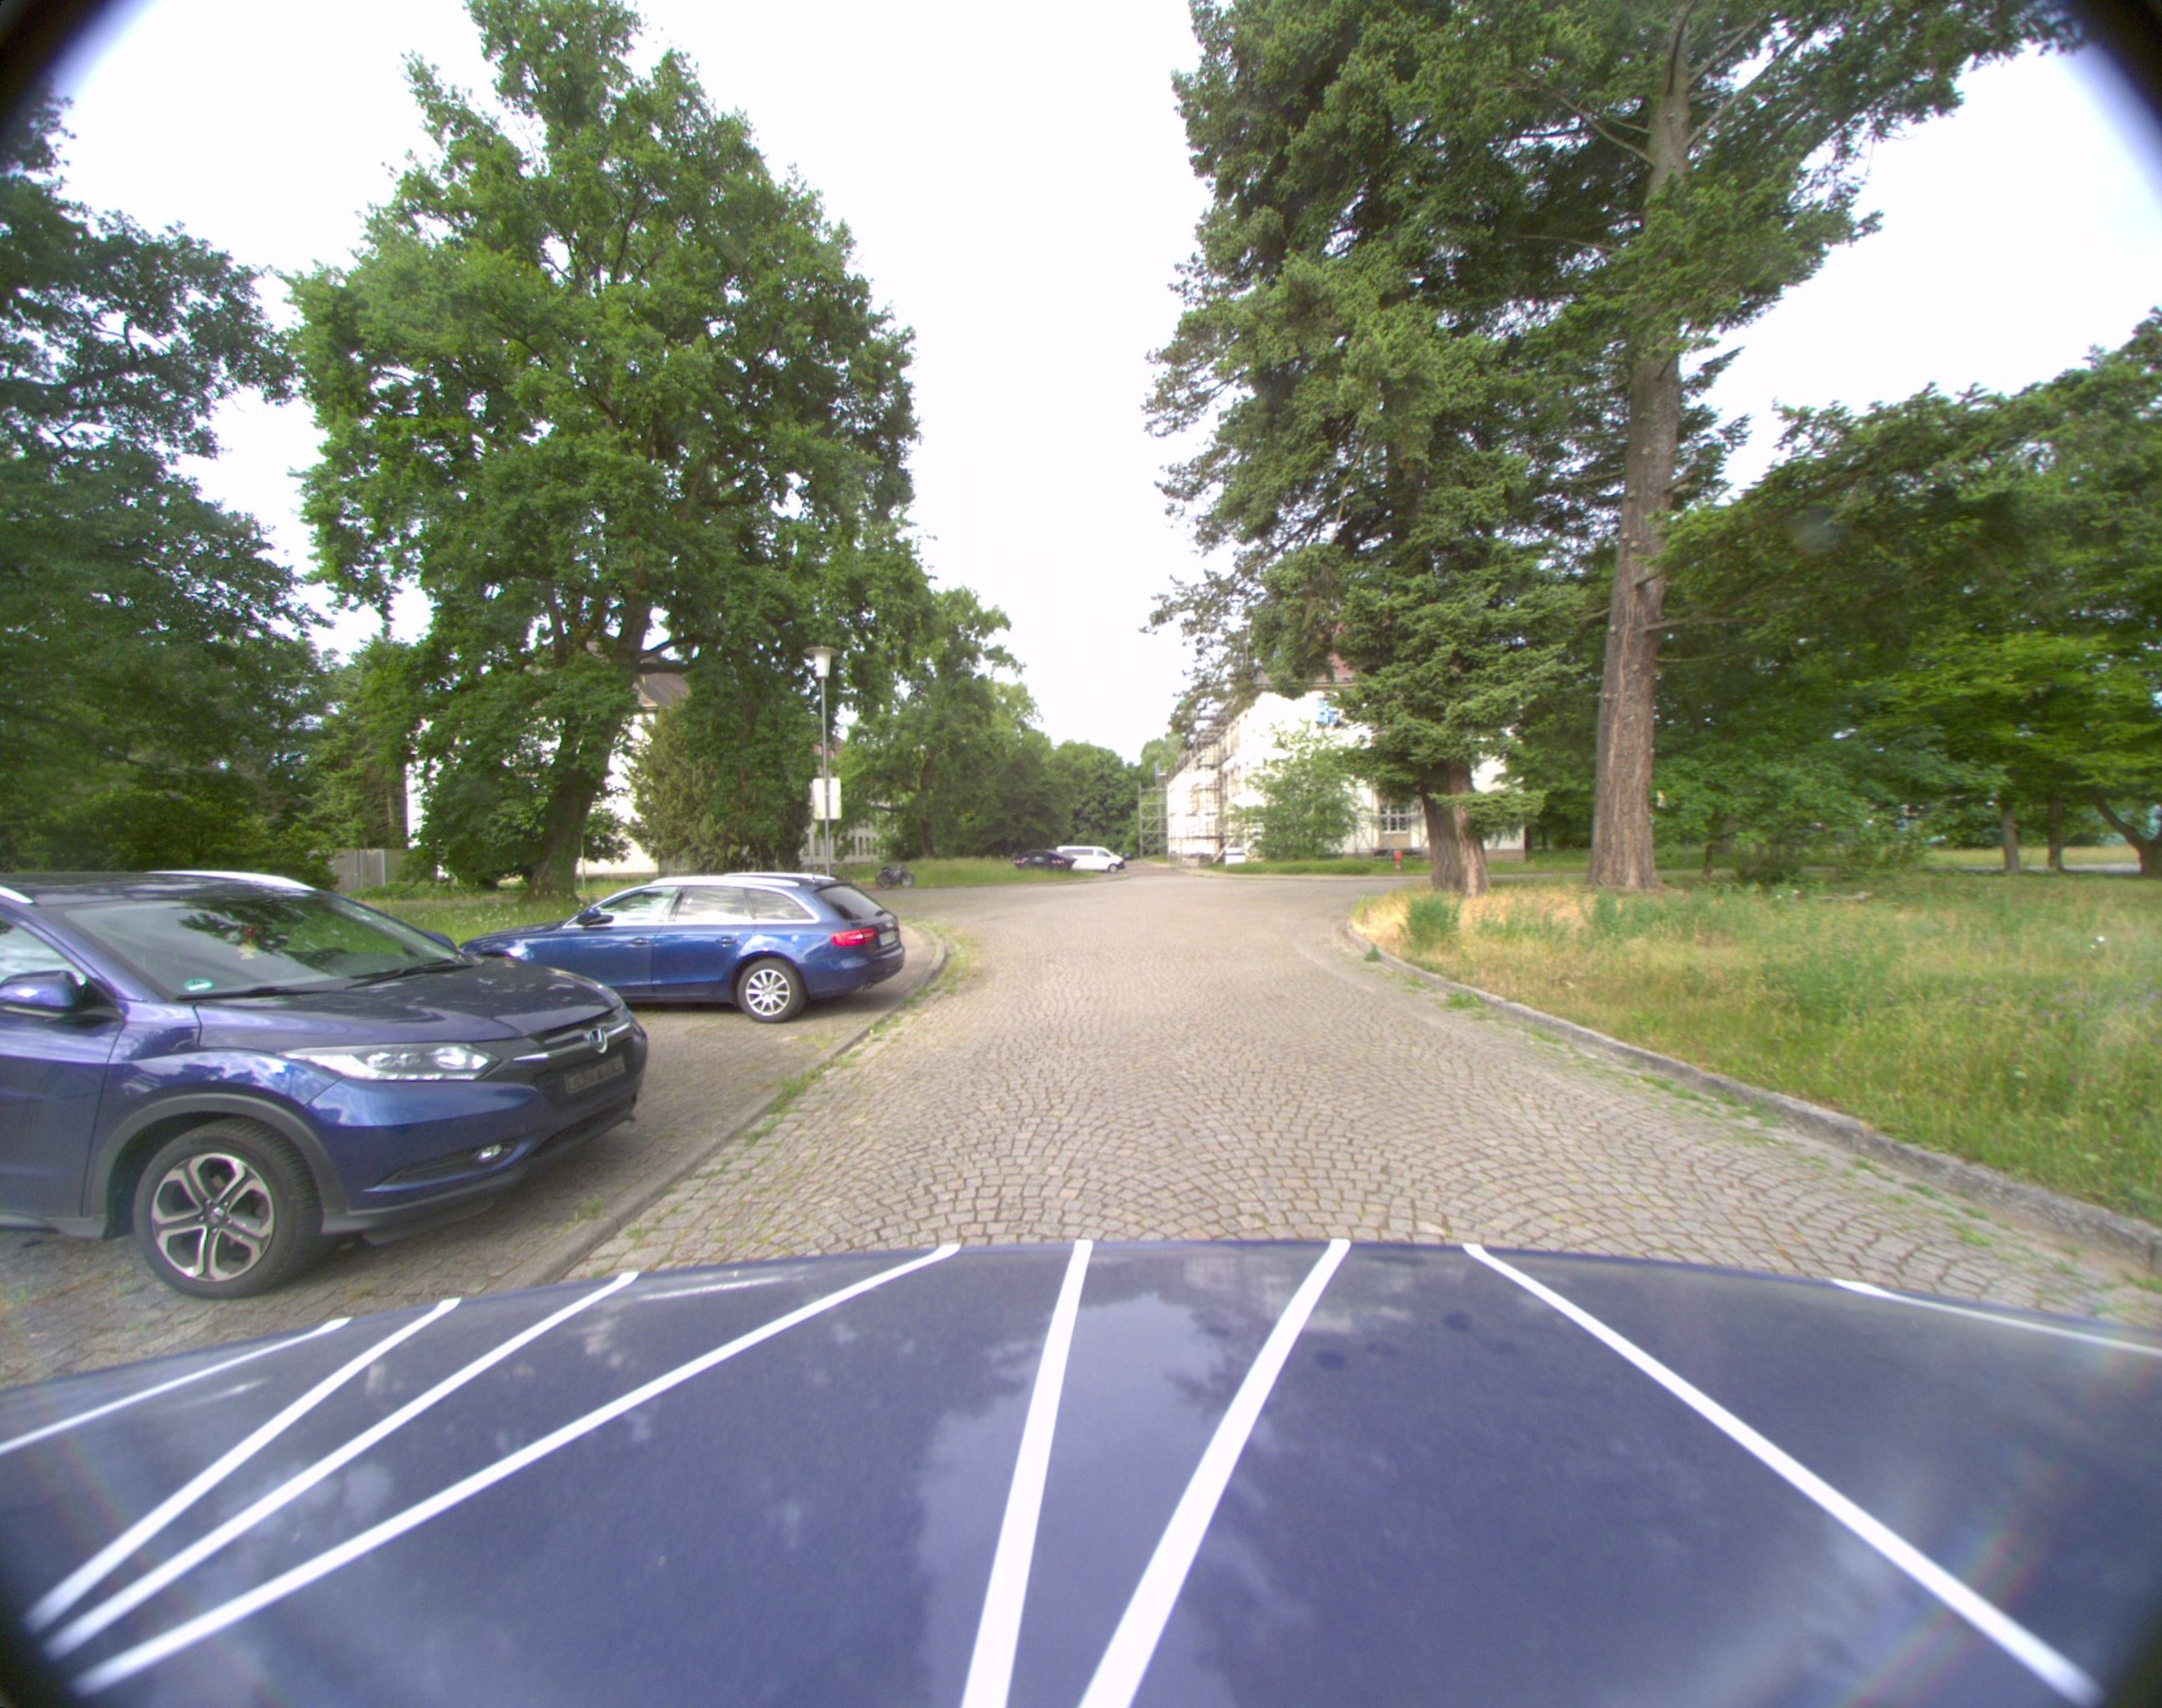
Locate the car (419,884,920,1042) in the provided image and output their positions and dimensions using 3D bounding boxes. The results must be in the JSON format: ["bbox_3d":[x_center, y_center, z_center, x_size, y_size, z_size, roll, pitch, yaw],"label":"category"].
[{"bbox_3d":[-4.198,1.079,8.208,4.479,1.413,1.785,0,1,4],"label":"car"}]

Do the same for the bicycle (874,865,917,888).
[{"bbox_3d":[-9.382,1.120,38.434,1.976,1.070,0.587,-3,1,-26],"label":"bicycle"}]

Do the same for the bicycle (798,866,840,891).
[{"bbox_3d":[-12.797,1.199,37.132,1.859,1.116,0.620,-3,1,-22],"label":"bicycle"}]

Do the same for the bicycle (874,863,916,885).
[{"bbox_3d":[-9.925,1.069,40.547,2.032,1.070,0.620,-3,1,-22],"label":"bicycle"}]

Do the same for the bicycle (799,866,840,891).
[{"bbox_3d":[-12.988,1.199,37.746,1.859,1.116,0.620,-3,1,-22],"label":"bicycle"}]

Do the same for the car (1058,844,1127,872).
[{"bbox_3d":[0.850,0.268,56.978,5.100,2.007,2.054,-1,1,0],"label":"car"}]

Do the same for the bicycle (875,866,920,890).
[{"bbox_3d":[-8.891,1.153,36.846,1.976,1.070,0.587,-3,1,-26],"label":"bicycle"}]

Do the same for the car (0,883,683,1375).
[{"bbox_3d":[-4.430,1.019,3.511,4.172,1.563,1.793,-1,2,1],"label":"car"}]

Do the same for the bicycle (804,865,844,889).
[{"bbox_3d":[-13.319,1.194,39.410,1.859,1.116,0.620,-3,1,-22],"label":"bicycle"}]

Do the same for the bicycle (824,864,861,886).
[{"bbox_3d":[-13.079,1.146,41.626,1.859,1.116,0.620,-3,1,-22],"label":"bicycle"}]
